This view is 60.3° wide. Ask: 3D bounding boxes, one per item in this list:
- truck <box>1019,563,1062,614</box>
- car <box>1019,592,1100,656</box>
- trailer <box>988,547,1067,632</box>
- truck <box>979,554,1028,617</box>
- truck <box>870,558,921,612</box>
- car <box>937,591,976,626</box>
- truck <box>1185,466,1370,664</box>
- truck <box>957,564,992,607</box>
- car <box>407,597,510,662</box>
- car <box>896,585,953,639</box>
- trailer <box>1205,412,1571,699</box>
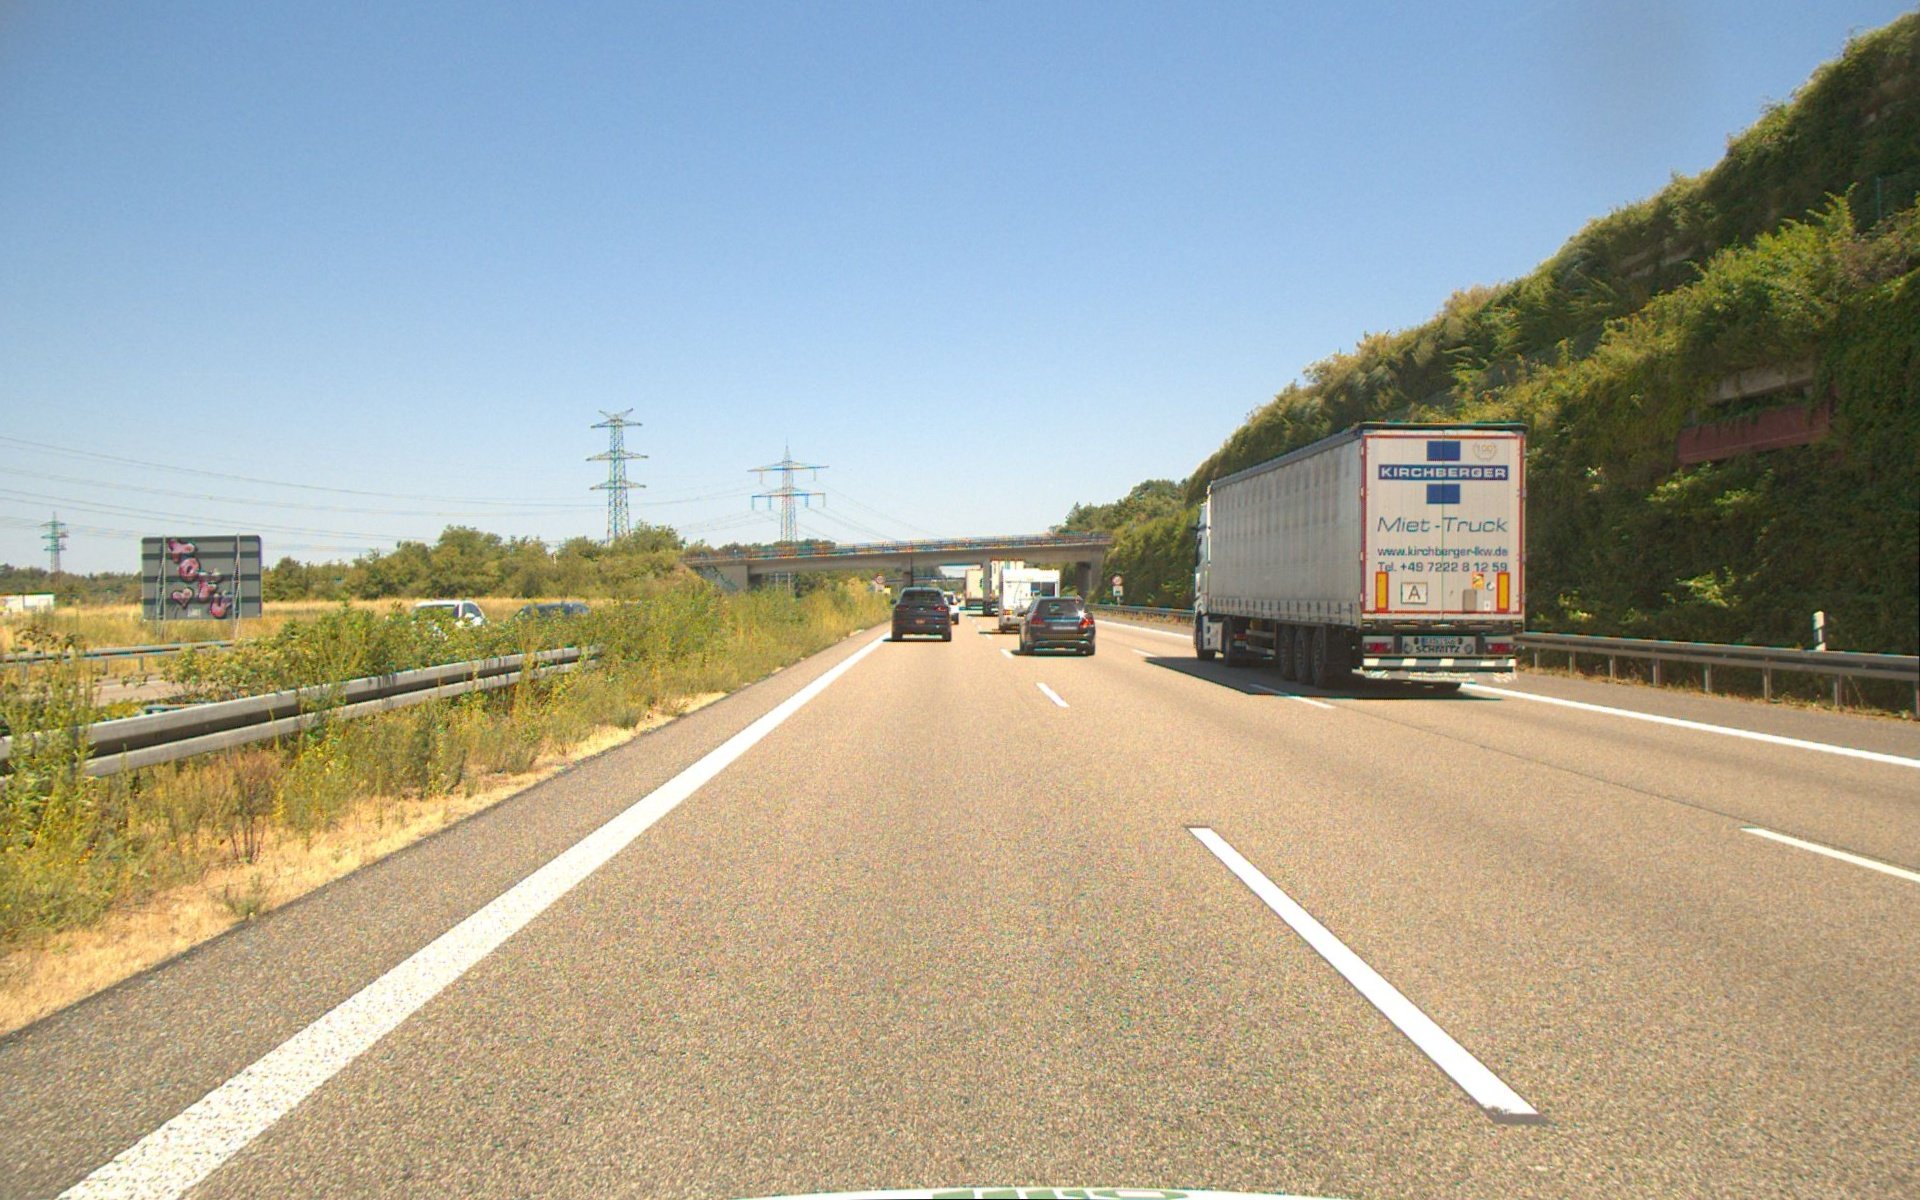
[{"bbox_3d":[7.100,-1.032,147.162,3.056,4.355,10.165,-1,0,-1],"label":"truck"},{"bbox_3d":[2.544,0.588,43.062,1.792,1.552,4.000,-1,0,-1],"label":"car"},{"bbox_3d":[2.707,-0.449,69.063,2.558,3.269,9.949,-1,0,-2],"label":"trailer"},{"bbox_3d":[3.097,-1.052,122.177,3.056,4.355,11.931,-1,0,-1],"label":"truck"},{"bbox_3d":[-5.110,-1.180,133.221,3.881,4.185,9.949,-1,0,-2],"label":"truck"},{"bbox_3d":[-0.208,0.410,85.317,1.793,1.700,3.998,-1,0,-3],"label":"car"},{"bbox_3d":[7.198,-0.772,38.287,3.072,4.214,5.502,-1,0,-1],"label":"truck"},{"bbox_3d":[1.455,-1.486,171.588,3.340,4.355,10.605,-1,0,-1],"label":"truck"},{"bbox_3d":[-13.826,0.772,45.803,1.579,1.680,3.922,-1,0,1],"label":"car"},{"bbox_3d":[-1.173,0.375,54.561,1.793,1.700,3.999,-1,0,-2],"label":"car"},{"bbox_3d":[7.316,-0.697,31.106,3.118,4.193,13.428,-1,0,-1],"label":"trailer"}]
